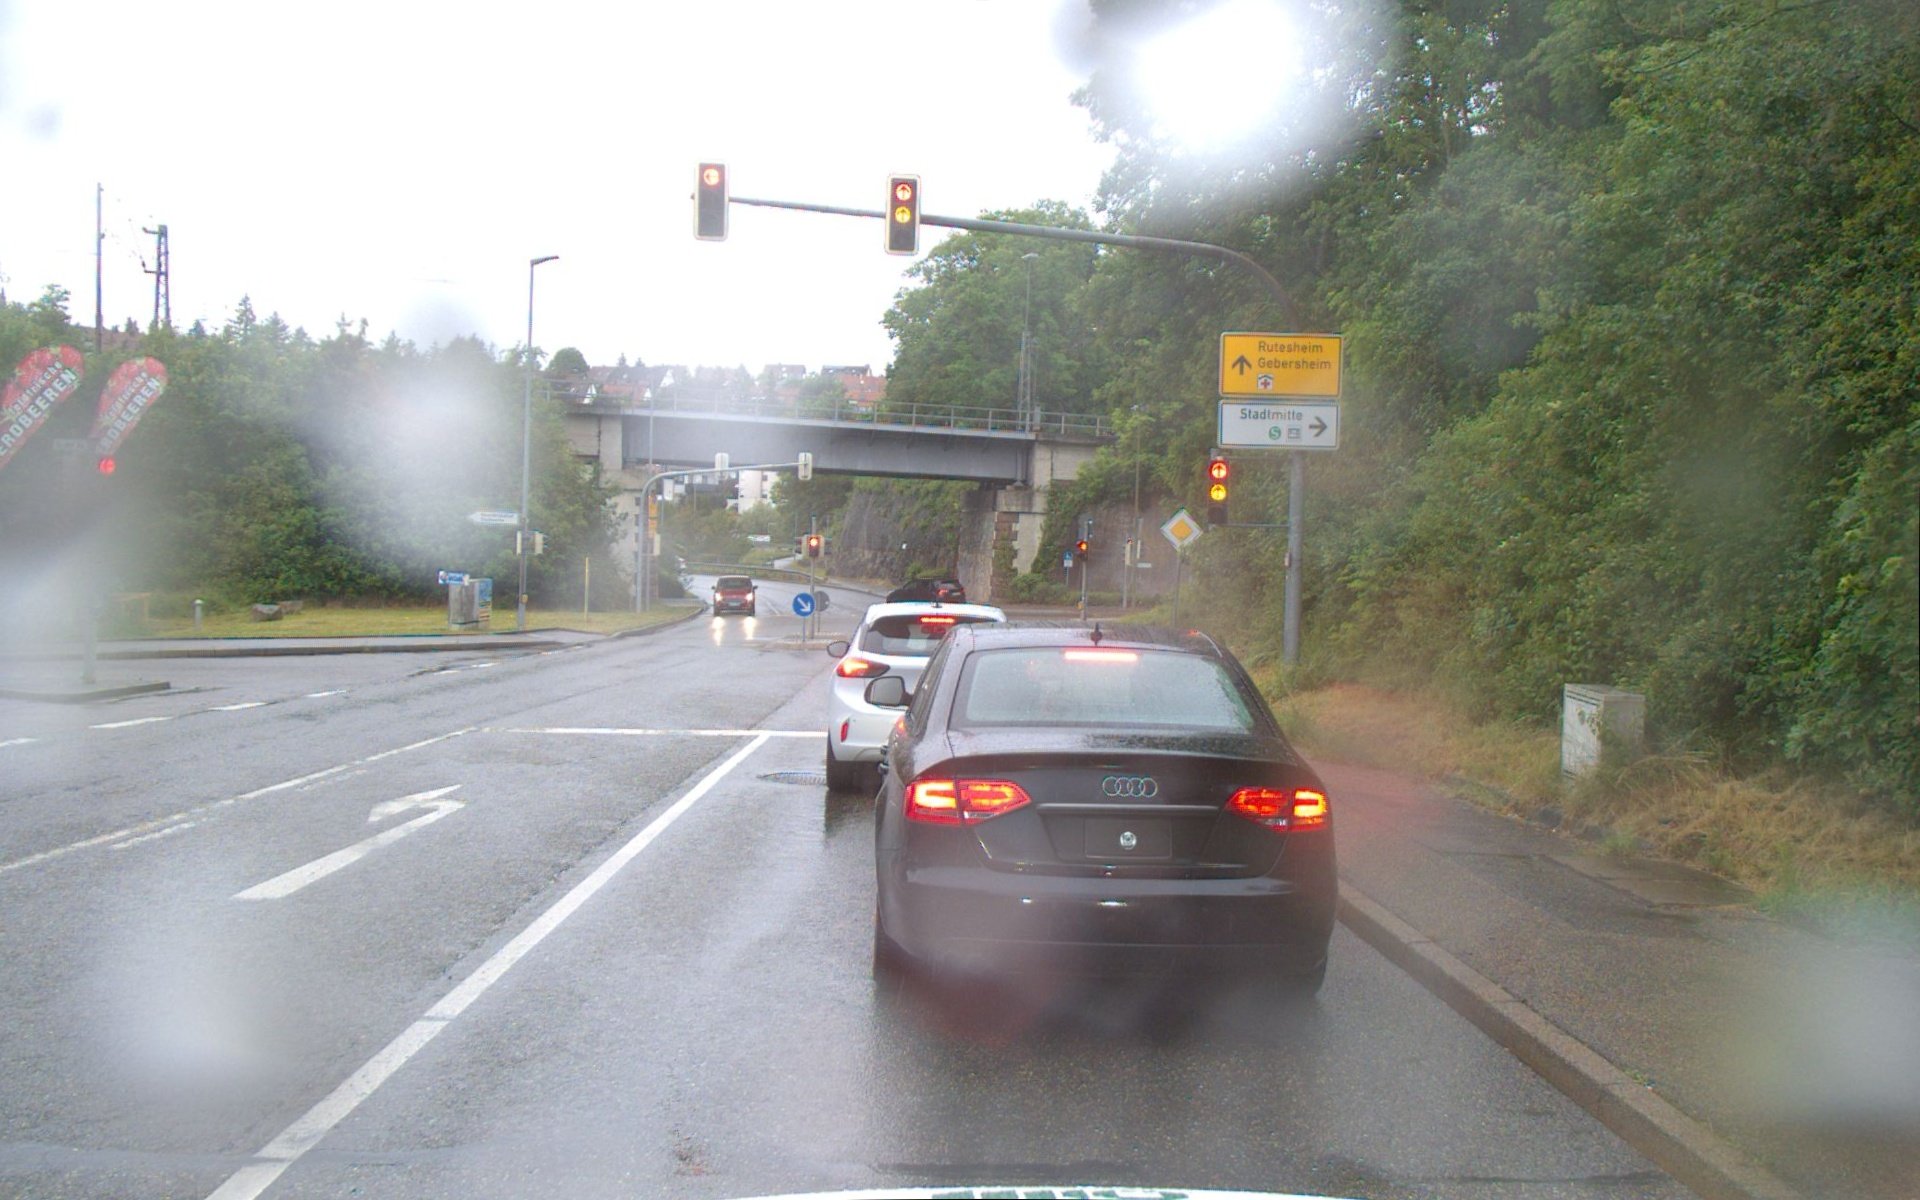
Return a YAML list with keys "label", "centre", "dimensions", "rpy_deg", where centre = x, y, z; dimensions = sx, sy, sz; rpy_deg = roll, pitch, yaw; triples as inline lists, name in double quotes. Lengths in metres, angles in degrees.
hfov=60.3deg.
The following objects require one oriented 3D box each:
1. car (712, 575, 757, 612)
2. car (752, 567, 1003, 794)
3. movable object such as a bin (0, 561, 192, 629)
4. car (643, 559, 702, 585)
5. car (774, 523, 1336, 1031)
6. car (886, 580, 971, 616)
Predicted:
- label: "car"
  centre: [-10.168, -0.295, 74.748]
  dimensions: [1.956, 1.657, 3.993]
  rpy_deg: [0, 0, -8]
- label: "car"
  centre: [-0.625, 0.613, 13.889]
  dimensions: [1.786, 1.613, 3.999]
  rpy_deg: [1, -1, -1]
- label: "movable object such as a bin"
  centre: [-23.532, -0.100, 43.140]
  dimensions: [2.699, 1.656, 5.752]
  rpy_deg: [0, -1, 39]
- label: "car"
  centre: [-21.063, -2.049, 120.974]
  dimensions: [4.395, 1.773, 1.802]
  rpy_deg: [0, -1, 39]
- label: "car"
  centre: [0.286, 0.614, 7.423]
  dimensions: [1.832, 1.645, 3.999]
  rpy_deg: [1, -1, -1]
- label: "car"
  centre: [-1.471, -0.101, 76.725]
  dimensions: [1.981, 1.624, 3.943]
  rpy_deg: [-1, 1, -39]
